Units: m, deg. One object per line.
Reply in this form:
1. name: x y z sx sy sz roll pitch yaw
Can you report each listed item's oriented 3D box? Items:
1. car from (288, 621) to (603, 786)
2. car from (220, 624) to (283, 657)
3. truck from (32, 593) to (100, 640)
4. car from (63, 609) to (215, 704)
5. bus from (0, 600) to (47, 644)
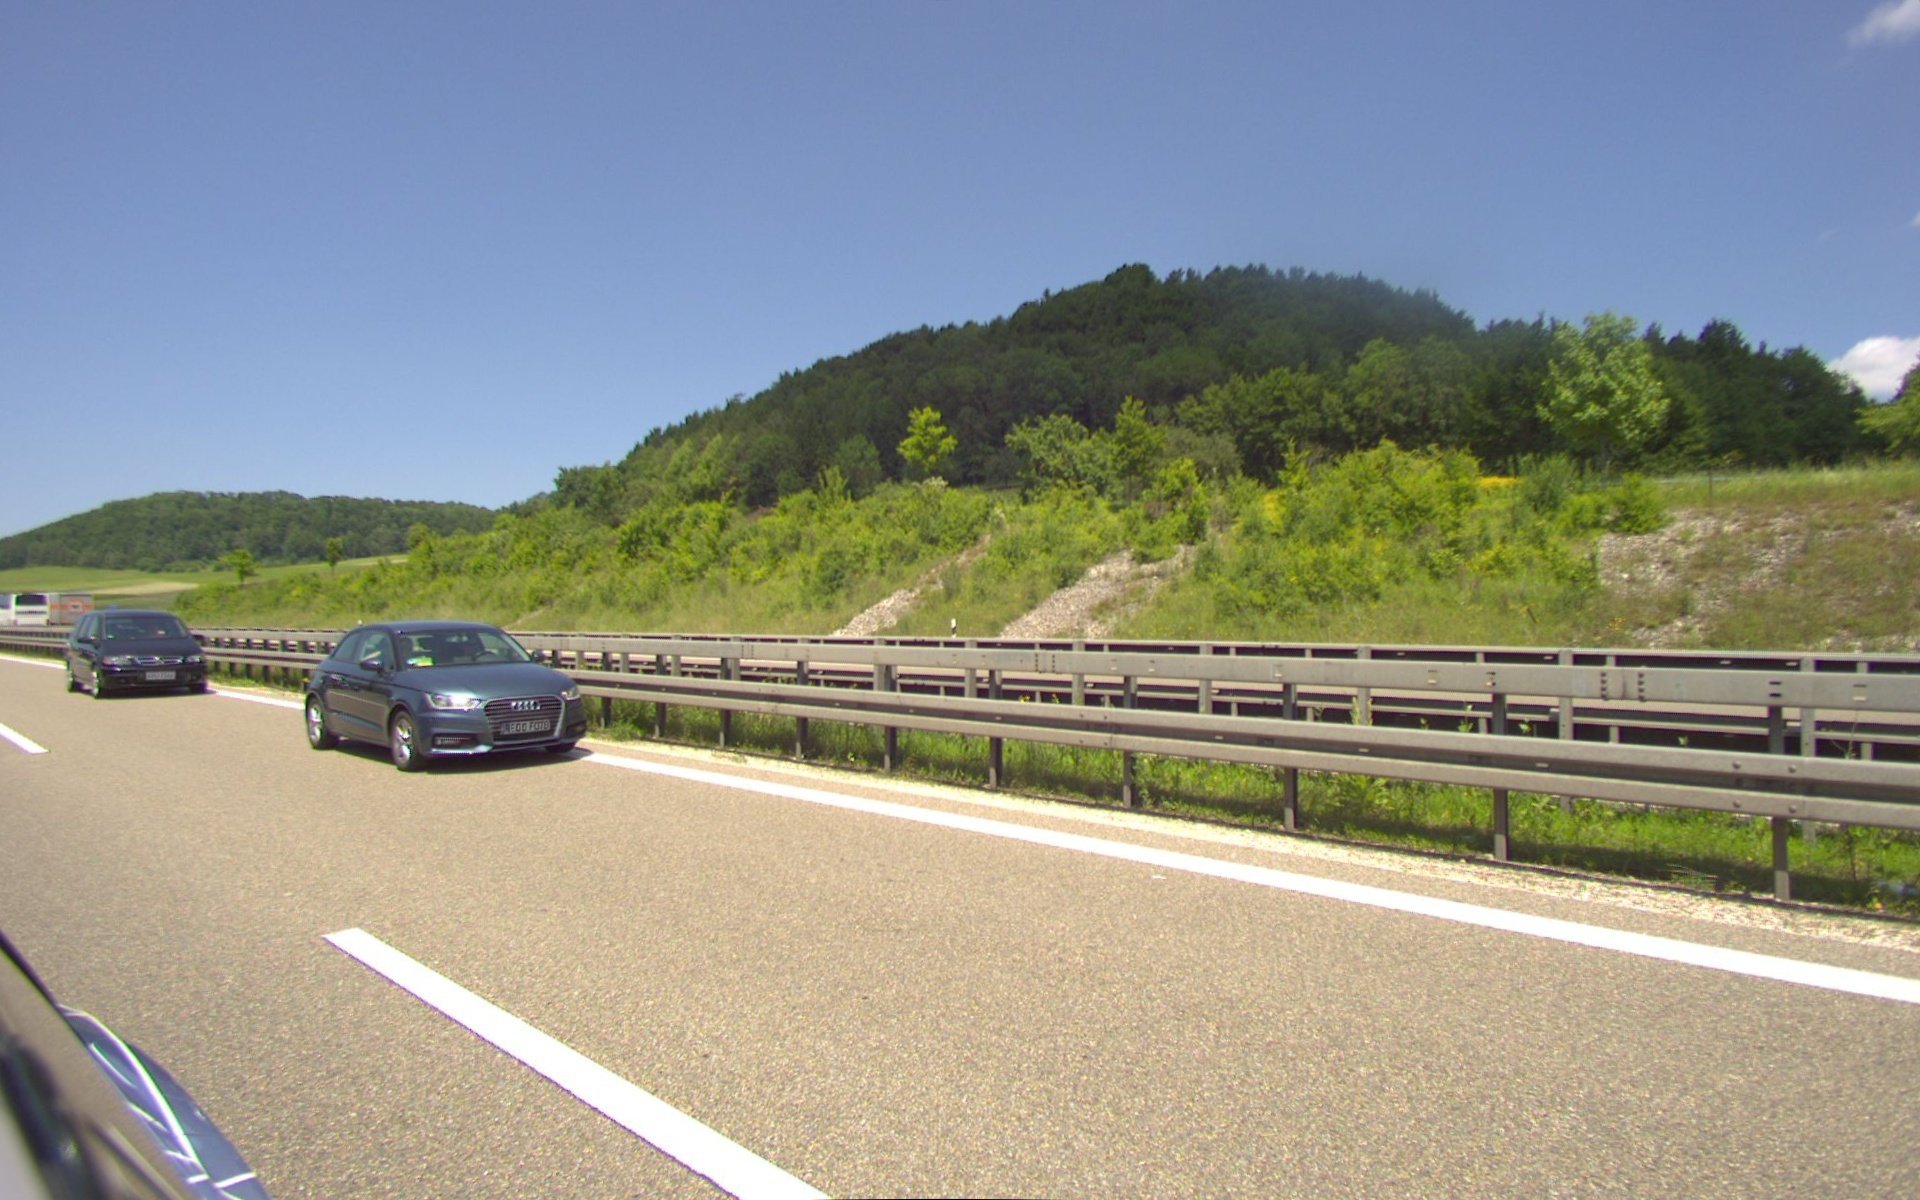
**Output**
1. car: -5.528 0.930 10.650 3.999 1.399 1.670 -1 -1 42
2. car: -39.881 2.254 56.941 3.998 1.725 1.973 -1 0 41
3. truck: -84.390 1.584 95.499 9.918 4.134 3.580 -1 -1 41
4. car: -16.185 1.036 19.870 4.447 1.647 1.781 -1 -2 44
5. bus: -85.061 2.024 91.000 14.809 3.689 2.652 -1 -1 41
